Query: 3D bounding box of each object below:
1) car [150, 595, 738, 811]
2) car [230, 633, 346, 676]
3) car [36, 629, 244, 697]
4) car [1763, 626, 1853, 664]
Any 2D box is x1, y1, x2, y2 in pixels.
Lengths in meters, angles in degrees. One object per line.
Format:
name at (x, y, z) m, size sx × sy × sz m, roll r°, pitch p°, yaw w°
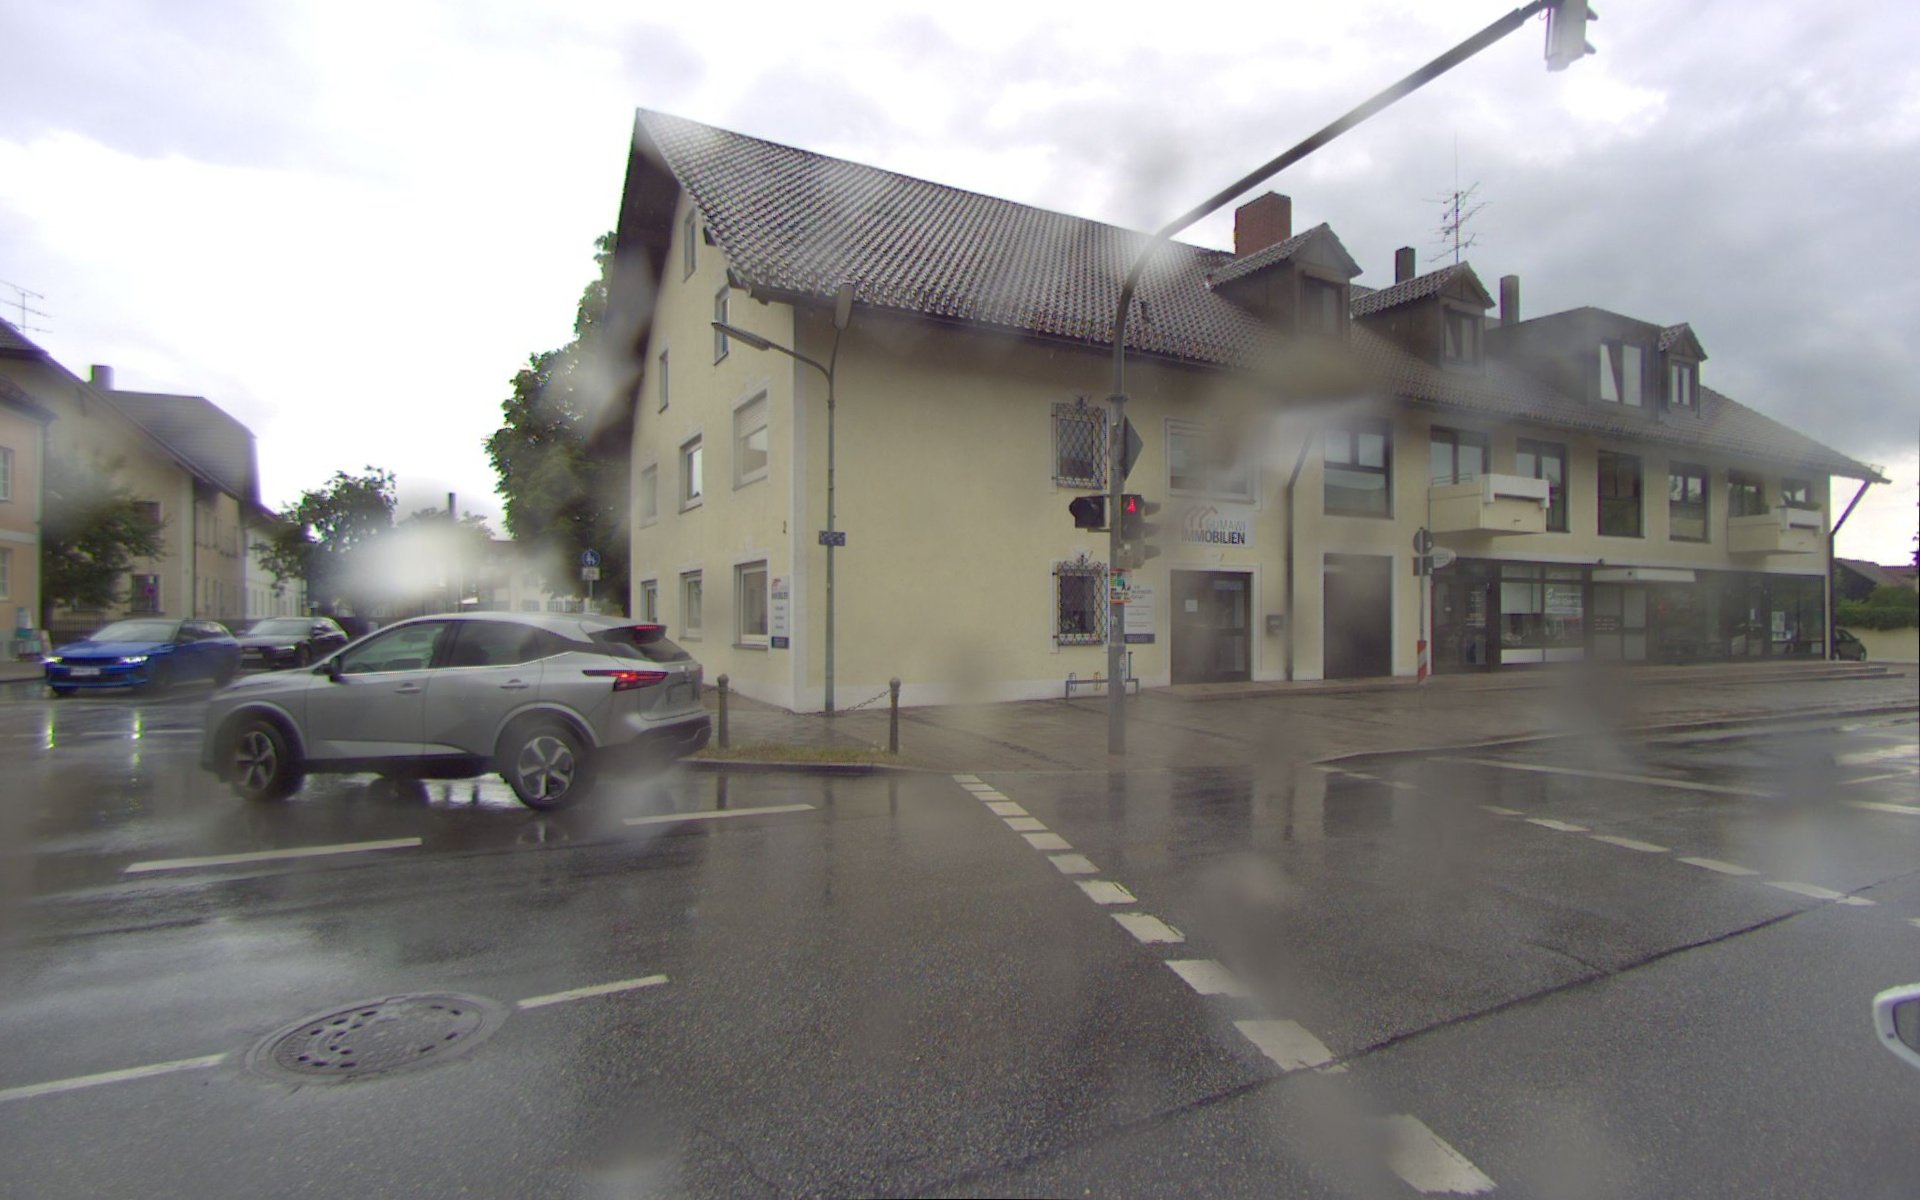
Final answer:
car at (-4.464, 0.856, 9.171) m, size 4.298 × 1.695 × 2.090 m, roll 0°, pitch -2°, yaw 6°
car at (-18.183, 1.450, 27.374) m, size 1.400 × 1.030 × 4.061 m, roll 1°, pitch -1°, yaw -16°
car at (-16.550, 1.222, 20.558) m, size 1.662 × 1.201 × 4.346 m, roll 1°, pitch -1°, yaw -16°
car at (33.090, 1.742, 39.190) m, size 3.467 × 1.398 × 1.600 m, roll 1°, pitch -2°, yaw -30°
